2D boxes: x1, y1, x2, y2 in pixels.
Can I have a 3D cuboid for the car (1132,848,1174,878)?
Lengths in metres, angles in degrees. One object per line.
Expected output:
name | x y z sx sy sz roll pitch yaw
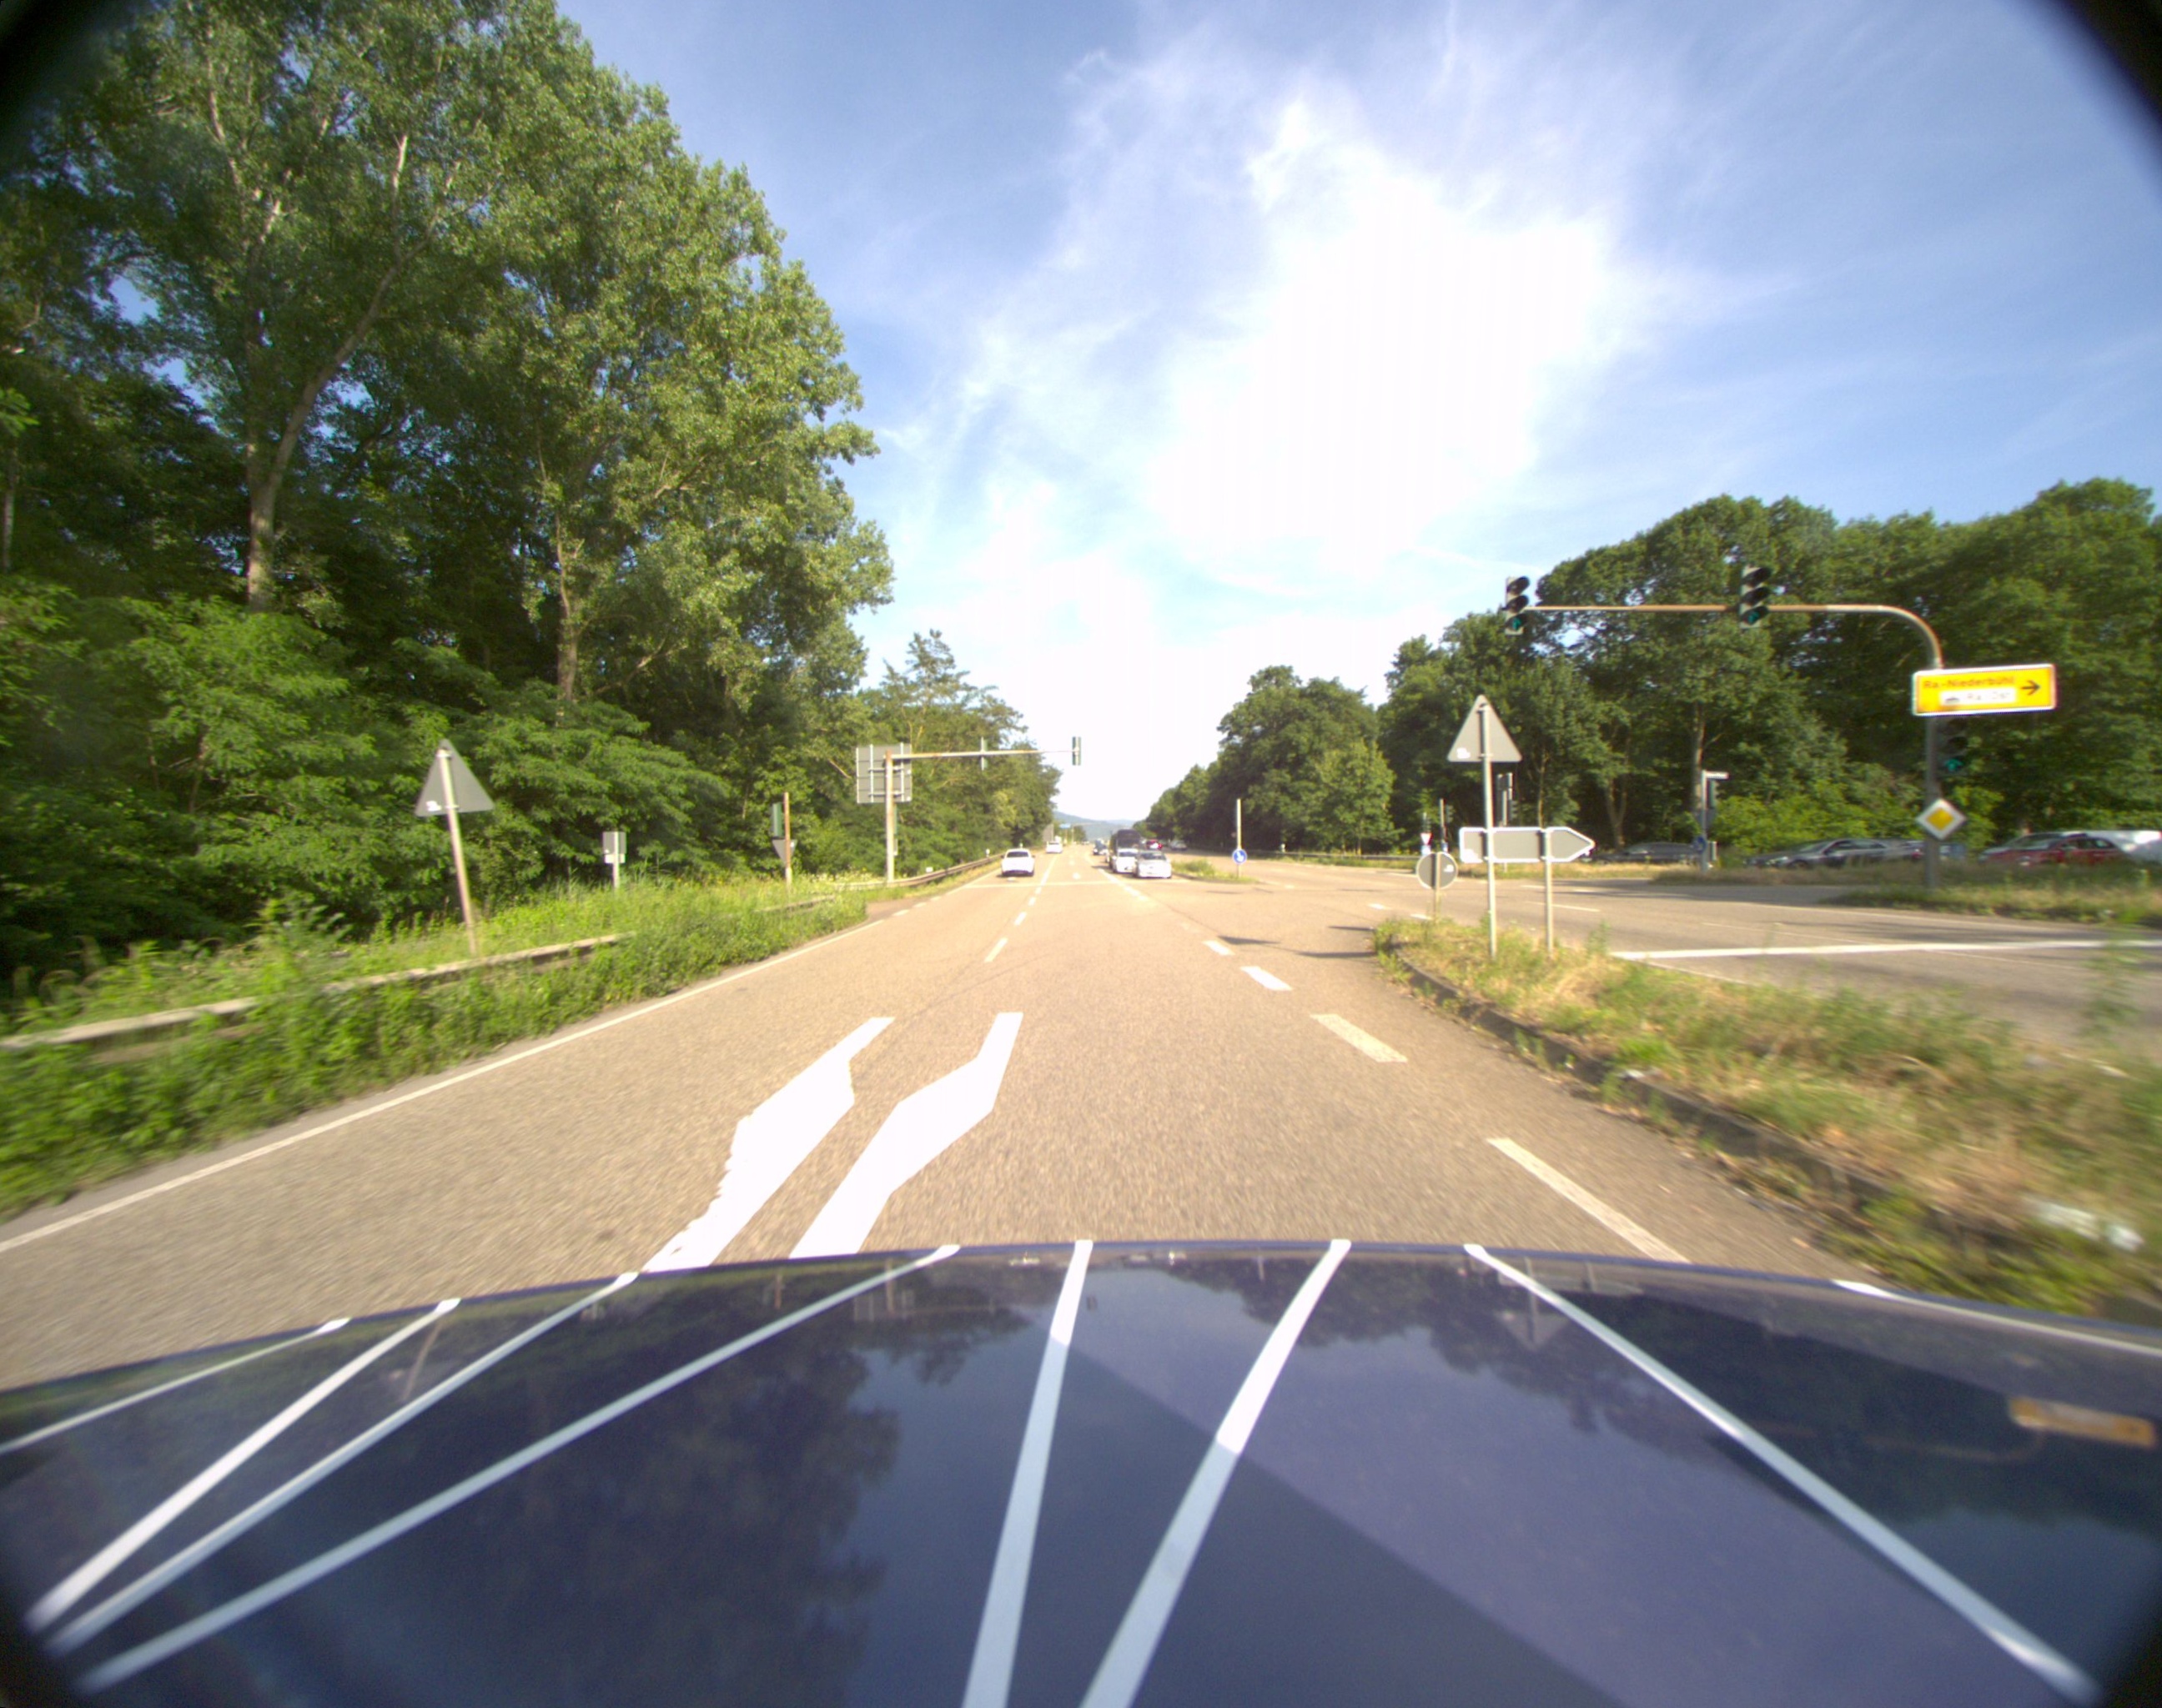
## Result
car | 3.669 0.428 39.610 1.739 1.413 4.801 0 1 0

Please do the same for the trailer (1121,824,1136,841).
trailer | 11.411 -5.102 183.169 2.999 3.973 14.012 -2 1 1

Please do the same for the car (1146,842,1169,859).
car | 8.489 -0.438 84.583 2.081 1.753 4.755 1 1 -1

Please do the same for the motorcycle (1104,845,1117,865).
motorcycle | 2.319 0.041 59.083 0.910 1.445 2.689 2 1 4

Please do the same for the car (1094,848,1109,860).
car | 2.630 -0.011 97.015 1.861 1.453 4.569 -2 1 2

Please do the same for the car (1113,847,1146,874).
car | 2.849 0.337 45.353 1.650 1.481 4.103 0 1 0

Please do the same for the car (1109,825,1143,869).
car | 3.084 -0.507 53.130 2.215 2.872 7.010 0 1 2

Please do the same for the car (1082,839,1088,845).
car | 1.134 -3.218 202.291 1.498 1.346 3.553 -2 1 -1

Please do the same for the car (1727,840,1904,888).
car | 25.983 0.327 26.980 4.419 1.482 1.999 -2 1 -2

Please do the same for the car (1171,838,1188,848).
car | 14.766 -1.607 113.791 1.888 1.495 4.263 1 1 -1

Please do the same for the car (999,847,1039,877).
car | -3.561 0.399 44.389 1.874 1.625 4.833 0 1 0

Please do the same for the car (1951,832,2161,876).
car | 37.976 -0.021 29.559 5.064 1.482 2.448 -2 1 8

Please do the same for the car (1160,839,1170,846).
car | 17.452 -2.408 158.395 1.720 1.495 3.976 1 1 1

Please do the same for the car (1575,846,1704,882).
car | 25.211 0.458 34.532 4.550 1.482 2.003 -1 1 30

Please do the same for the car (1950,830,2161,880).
car | 33.749 0.020 26.063 4.982 1.482 2.209 -2 1 7

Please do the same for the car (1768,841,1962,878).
car | 32.068 0.236 31.290 5.194 1.335 2.055 -2 1 19

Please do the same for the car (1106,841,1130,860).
car | 3.275 -0.342 67.424 1.874 1.513 4.833 -2 1 1

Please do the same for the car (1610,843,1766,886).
car | 23.882 0.402 30.073 4.415 1.482 2.001 -2 1 9

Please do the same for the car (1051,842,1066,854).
car | -3.138 -0.864 108.578 1.999 1.633 3.999 -2 1 -1
